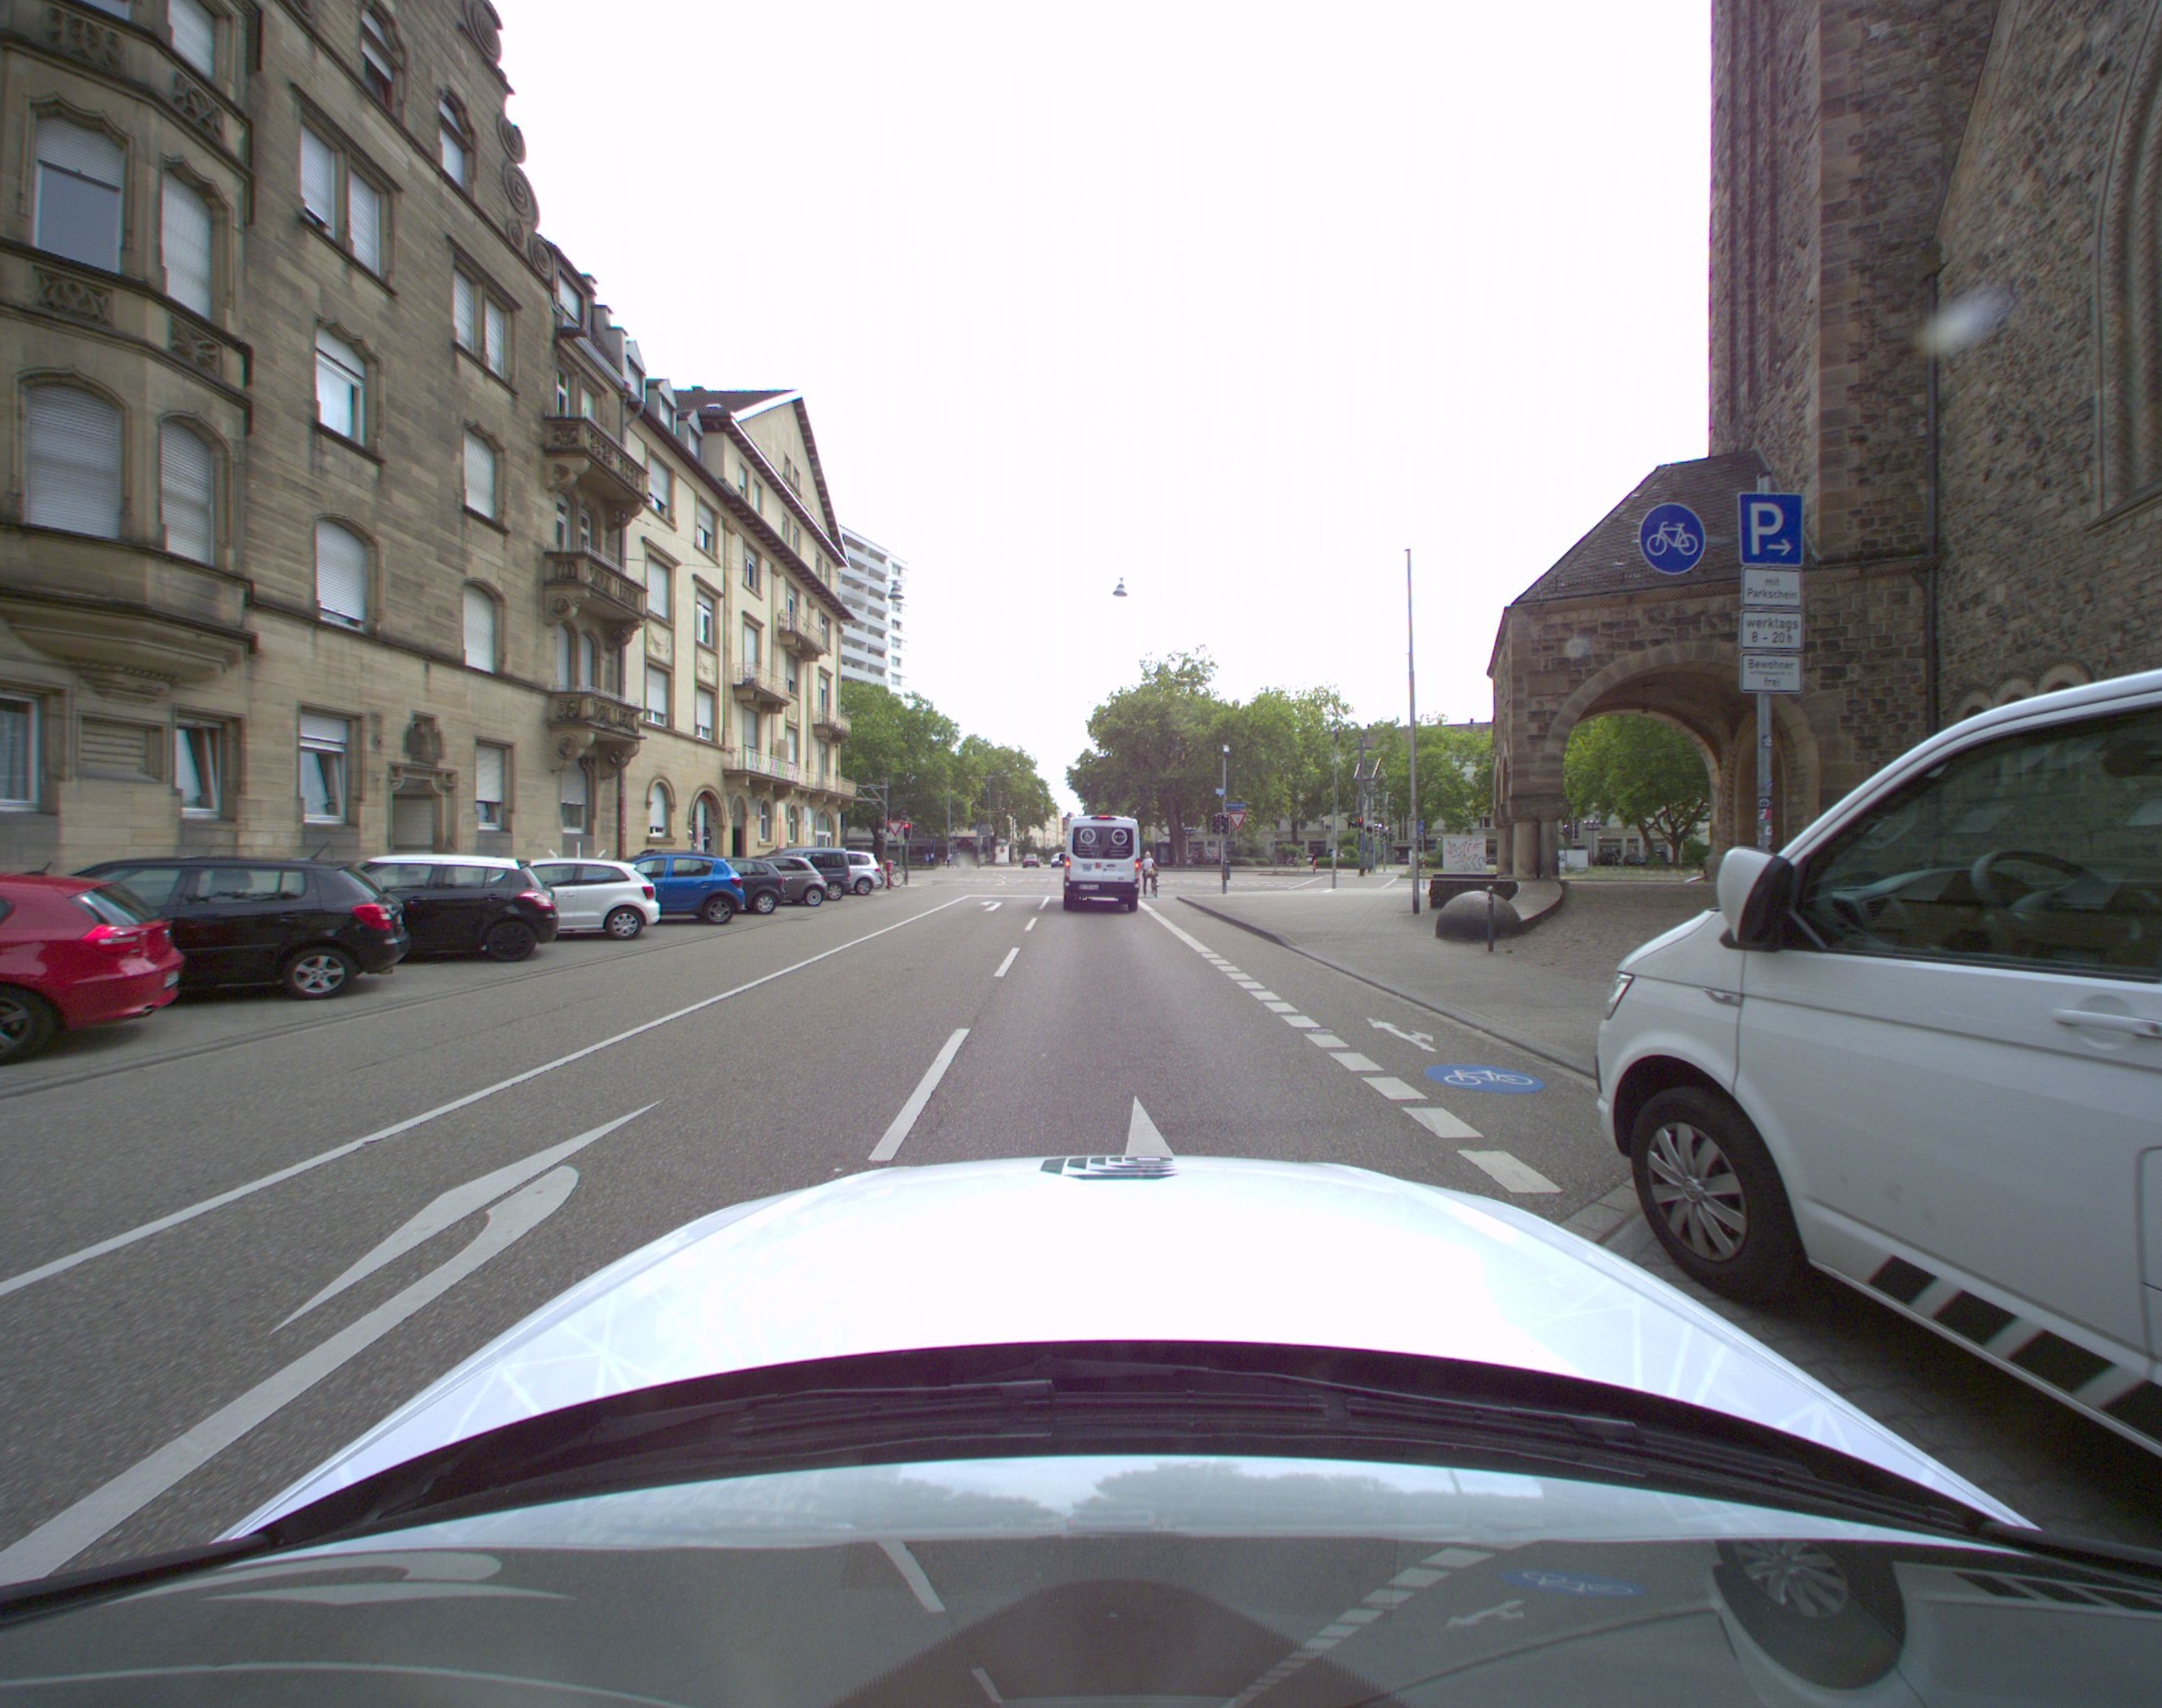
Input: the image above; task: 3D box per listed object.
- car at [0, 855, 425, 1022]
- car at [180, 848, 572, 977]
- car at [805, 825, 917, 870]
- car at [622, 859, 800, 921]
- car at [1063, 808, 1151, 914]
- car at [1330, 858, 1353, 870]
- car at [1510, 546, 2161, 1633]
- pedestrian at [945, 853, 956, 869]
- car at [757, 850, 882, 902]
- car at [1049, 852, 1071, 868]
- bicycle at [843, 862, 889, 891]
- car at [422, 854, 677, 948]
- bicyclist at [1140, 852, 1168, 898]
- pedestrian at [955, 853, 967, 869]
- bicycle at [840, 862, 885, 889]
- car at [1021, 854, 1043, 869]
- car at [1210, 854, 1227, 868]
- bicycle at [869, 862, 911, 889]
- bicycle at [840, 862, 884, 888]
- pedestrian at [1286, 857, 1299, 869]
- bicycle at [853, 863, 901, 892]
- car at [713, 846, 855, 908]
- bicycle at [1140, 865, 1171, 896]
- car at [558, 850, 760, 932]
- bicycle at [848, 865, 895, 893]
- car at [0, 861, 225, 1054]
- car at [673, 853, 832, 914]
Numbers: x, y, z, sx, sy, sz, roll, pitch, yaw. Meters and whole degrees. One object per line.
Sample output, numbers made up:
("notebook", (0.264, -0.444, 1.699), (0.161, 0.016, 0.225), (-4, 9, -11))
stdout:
("car", (-9.508, 0.766, 8.525), (4.014, 1.503, 1.614), (0, 0, -36))
("car", (-9.706, 0.713, 11.727), (4.026, 1.564, 1.778), (0, 0, -33))
("car", (-19.939, -0.514, 73.830), (9.795, 3.915, 3.475), (0, 0, 24))
("car", (-9.548, 0.861, 21.101), (3.921, 1.443, 1.817), (0, 0, -36))
("car", (0.607, 0.153, 23.083), (2.176, 2.647, 4.625), (1, 0, -1))
("car", (33.783, 1.282, 105.873), (1.984, 1.503, 4.005), (0, 0, 5))
("car", (3.017, 0.425, 1.144), (2.009, 2.029, 5.120), (-2, 0, -1))
("pedestrian", (-12.868, 0.692, 80.380), (0.801, 1.572, 0.726), (0, -1, 14))
("car", (-9.580, 0.757, 29.985), (4.032, 1.773, 1.776), (0, 0, -39))
("car", (-2.176, 0.643, 86.602), (1.723, 1.592, 4.009), (-1, 0, 8))
("bicycle", (-9.251, 0.969, 35.147), (1.808, 1.166, 0.592), (2, -1, -8))
("car", (-9.544, 0.755, 14.810), (3.702, 1.481, 1.723), (0, 0, -36))
("bicyclist", (2.694, 0.764, 30.077), (0.902, 1.683, 0.756), (0, 0, -3))
("pedestrian", (-11.821, 0.703, 80.286), (0.923, 1.514, 0.726), (0, -1, 14))
("bicycle", (-9.579, 0.960, 35.755), (1.808, 1.120, 0.592), (2, -1, -8))
("car", (-5.197, 0.774, 87.343), (1.612, 1.476, 4.009), (-1, 0, 8))
("car", (18.947, 0.943, 112.099), (1.984, 1.930, 4.005), (0, 0, 5))
("bicycle", (-8.824, 0.976, 37.577), (1.859, 1.167, 0.500), (1, -1, 20))
("bicycle", (-9.787, 0.947, 36.450), (1.808, 1.120, 0.592), (2, -1, -8))
("pedestrian", (22.829, 0.973, 87.981), (1.086, 1.236, 1.442), (-2, -1, 4))
("bicycle", (-8.621, 1.003, 34.414), (1.801, 1.120, 0.595), (3, 0, 3))
("car", (-9.719, 0.706, 26.795), (4.032, 1.879, 1.776), (0, 0, -39))
("bicycle", (2.713, 0.948, 29.888), (0.900, 1.075, 1.968), (0, 0, -3))
("car", (-9.373, 0.753, 18.199), (3.795, 1.652, 1.705), (0, 0, -37))
("bicycle", (-8.674, 1.035, 33.742), (1.800, 1.120, 0.595), (-1, -1, 6))
("car", (-9.301, 0.771, 5.955), (4.033, 1.409, 1.775), (0, 0, -41))
("car", (-9.651, 0.796, 24.069), (4.032, 1.652, 1.776), (0, 0, -39))
